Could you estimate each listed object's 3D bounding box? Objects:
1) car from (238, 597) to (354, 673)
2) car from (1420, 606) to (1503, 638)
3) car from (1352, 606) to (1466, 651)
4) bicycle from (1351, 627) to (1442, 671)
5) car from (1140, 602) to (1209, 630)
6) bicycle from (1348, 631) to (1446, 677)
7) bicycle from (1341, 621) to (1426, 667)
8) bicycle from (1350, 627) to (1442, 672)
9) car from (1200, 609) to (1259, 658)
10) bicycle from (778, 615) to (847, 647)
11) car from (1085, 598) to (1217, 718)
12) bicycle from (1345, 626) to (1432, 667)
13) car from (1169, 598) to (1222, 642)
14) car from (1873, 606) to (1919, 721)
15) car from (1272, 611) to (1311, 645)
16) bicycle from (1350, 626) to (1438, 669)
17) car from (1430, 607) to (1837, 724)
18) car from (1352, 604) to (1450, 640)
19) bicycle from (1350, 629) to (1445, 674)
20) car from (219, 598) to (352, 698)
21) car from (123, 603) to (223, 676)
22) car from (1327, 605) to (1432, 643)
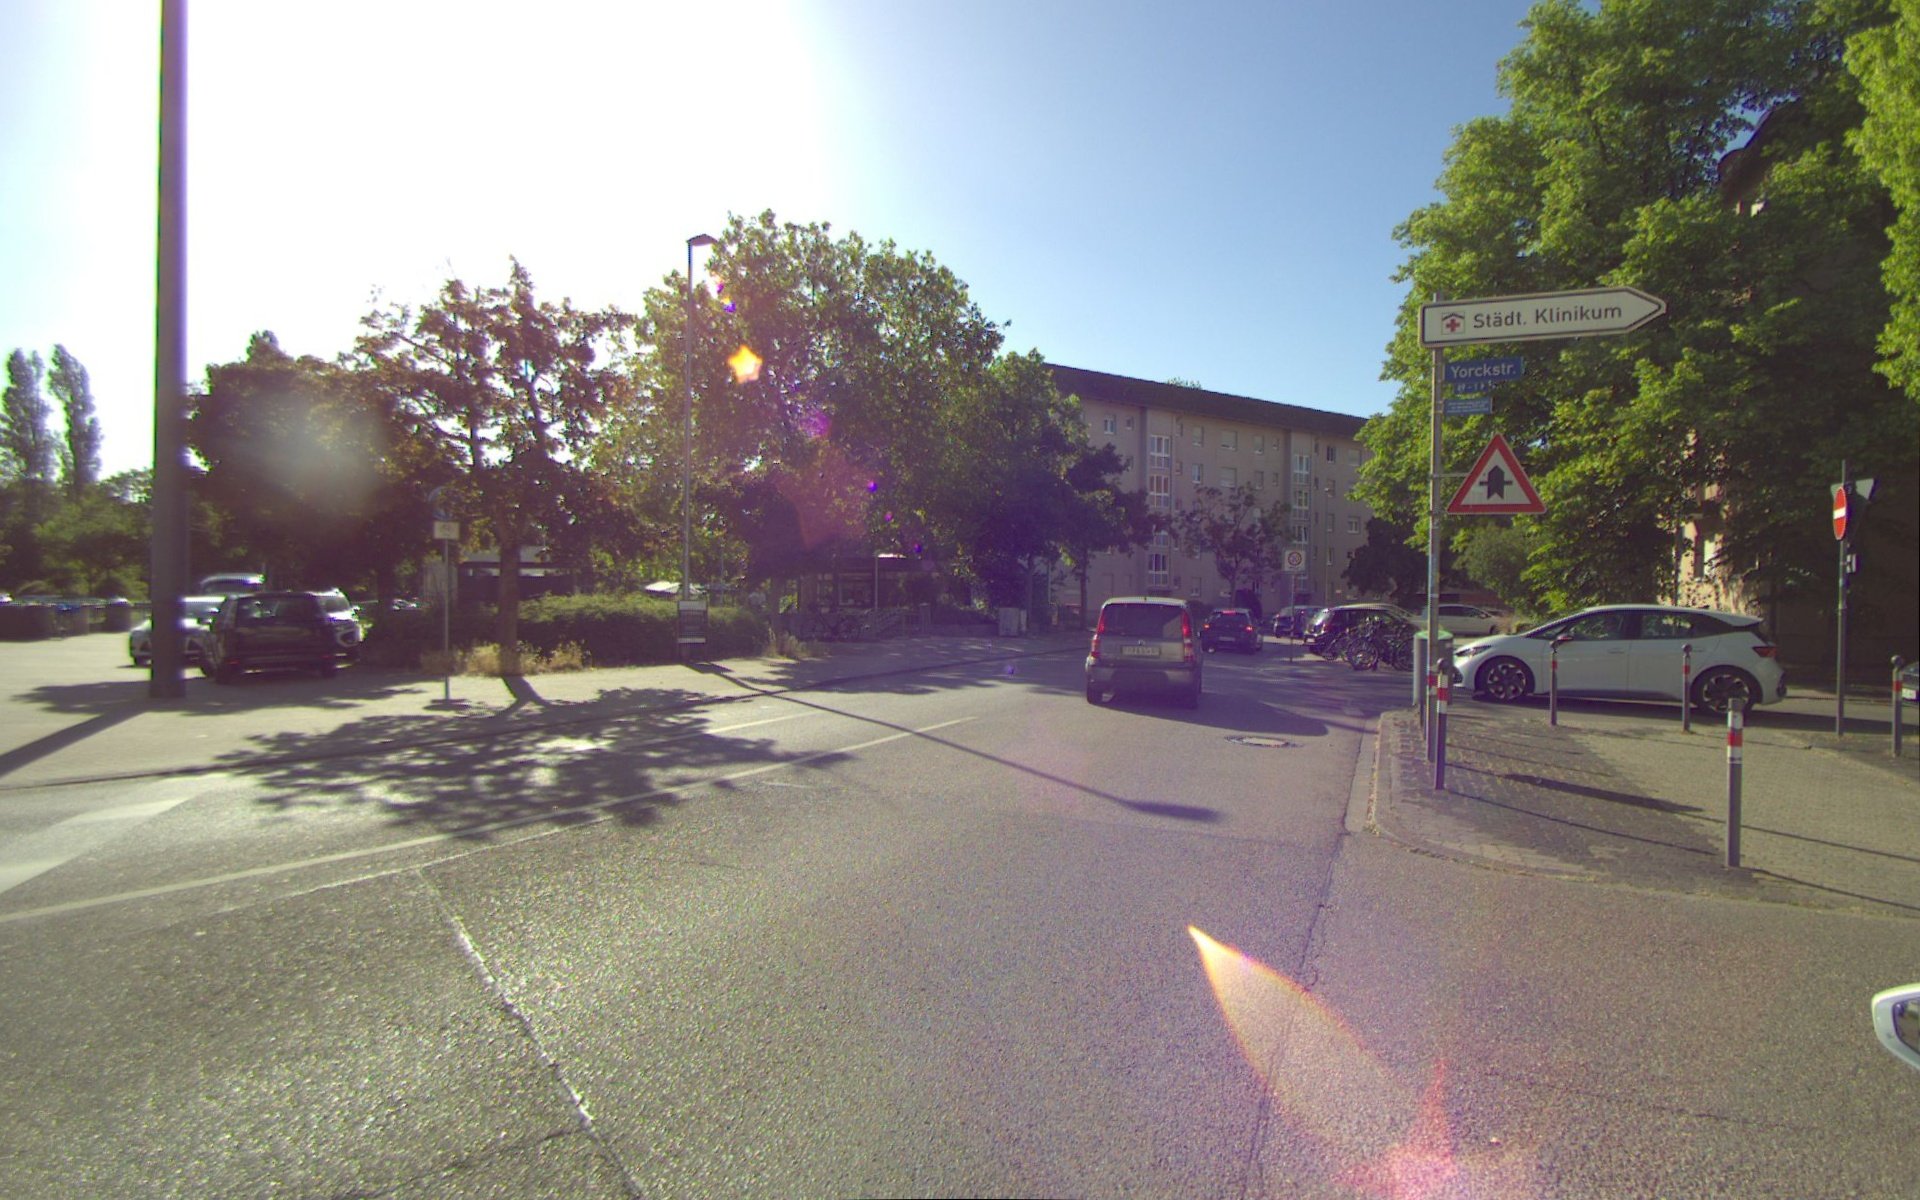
[{"bbox_3d":[-15.427,0.751,23.262,1.785,1.601,3.953,1,-1,-40],"label":"car"},{"bbox_3d":[24.308,1.026,48.711,3.528,1.501,1.618,0,0,29],"label":"car"},{"bbox_3d":[15.360,0.973,34.455,3.193,1.501,1.621,0,0,-1],"label":"car"},{"bbox_3d":[10.722,1.196,24.734,1.993,1.044,0.448,0,-1,15],"label":"bicycle"},{"bbox_3d":[14.019,1.035,65.856,2.044,1.822,4.390,1,-1,-31],"label":"car"},{"bbox_3d":[10.023,1.229,23.096,1.993,1.044,0.571,0,-1,15],"label":"bicycle"},{"bbox_3d":[11.173,1.147,26.571,1.993,1.192,0.668,0,-1,15],"label":"bicycle"},{"bbox_3d":[10.514,1.190,24.279,1.993,1.044,0.469,0,-1,15],"label":"bicycle"},{"bbox_3d":[9.079,1.079,33.651,1.650,1.528,3.758,0,0,19],"label":"car"},{"bbox_3d":[-4.887,1.017,33.240,2.267,0.995,0.557,0,0,19],"label":"bicycle"},{"bbox_3d":[2.960,0.784,15.136,1.589,1.582,3.258,0,0,17],"label":"car"},{"bbox_3d":[11.028,1.191,25.896,1.993,1.044,0.448,0,-1,15],"label":"bicycle"},{"bbox_3d":[11.709,0.973,49.815,2.122,2.040,4.427,0,-1,19],"label":"car"},{"bbox_3d":[14.935,0.850,12.991,4.218,1.539,1.908,0,0,24],"label":"car"},{"bbox_3d":[15.866,1.284,47.970,1.651,1.528,3.595,0,0,21],"label":"car"},{"bbox_3d":[10.910,1.193,25.309,1.993,1.044,0.448,0,-1,15],"label":"bicycle"},{"bbox_3d":[10.053,0.886,15.503,4.947,1.539,1.920,0,0,30],"label":"car"},{"bbox_3d":[18.919,0.932,43.187,3.522,1.501,1.621,0,0,-1],"label":"car"},{"bbox_3d":[10.325,1.205,23.747,1.993,1.044,0.571,0,-1,15],"label":"bicycle"},{"bbox_3d":[-12.027,0.763,17.820,1.669,1.528,3.557,-2,1,-38],"label":"car"},{"bbox_3d":[-17.894,0.837,22.881,1.669,1.528,3.557,0,0,-38],"label":"car"},{"bbox_3d":[16.854,0.946,40.453,3.522,1.501,1.621,0,0,-1],"label":"car"}]
